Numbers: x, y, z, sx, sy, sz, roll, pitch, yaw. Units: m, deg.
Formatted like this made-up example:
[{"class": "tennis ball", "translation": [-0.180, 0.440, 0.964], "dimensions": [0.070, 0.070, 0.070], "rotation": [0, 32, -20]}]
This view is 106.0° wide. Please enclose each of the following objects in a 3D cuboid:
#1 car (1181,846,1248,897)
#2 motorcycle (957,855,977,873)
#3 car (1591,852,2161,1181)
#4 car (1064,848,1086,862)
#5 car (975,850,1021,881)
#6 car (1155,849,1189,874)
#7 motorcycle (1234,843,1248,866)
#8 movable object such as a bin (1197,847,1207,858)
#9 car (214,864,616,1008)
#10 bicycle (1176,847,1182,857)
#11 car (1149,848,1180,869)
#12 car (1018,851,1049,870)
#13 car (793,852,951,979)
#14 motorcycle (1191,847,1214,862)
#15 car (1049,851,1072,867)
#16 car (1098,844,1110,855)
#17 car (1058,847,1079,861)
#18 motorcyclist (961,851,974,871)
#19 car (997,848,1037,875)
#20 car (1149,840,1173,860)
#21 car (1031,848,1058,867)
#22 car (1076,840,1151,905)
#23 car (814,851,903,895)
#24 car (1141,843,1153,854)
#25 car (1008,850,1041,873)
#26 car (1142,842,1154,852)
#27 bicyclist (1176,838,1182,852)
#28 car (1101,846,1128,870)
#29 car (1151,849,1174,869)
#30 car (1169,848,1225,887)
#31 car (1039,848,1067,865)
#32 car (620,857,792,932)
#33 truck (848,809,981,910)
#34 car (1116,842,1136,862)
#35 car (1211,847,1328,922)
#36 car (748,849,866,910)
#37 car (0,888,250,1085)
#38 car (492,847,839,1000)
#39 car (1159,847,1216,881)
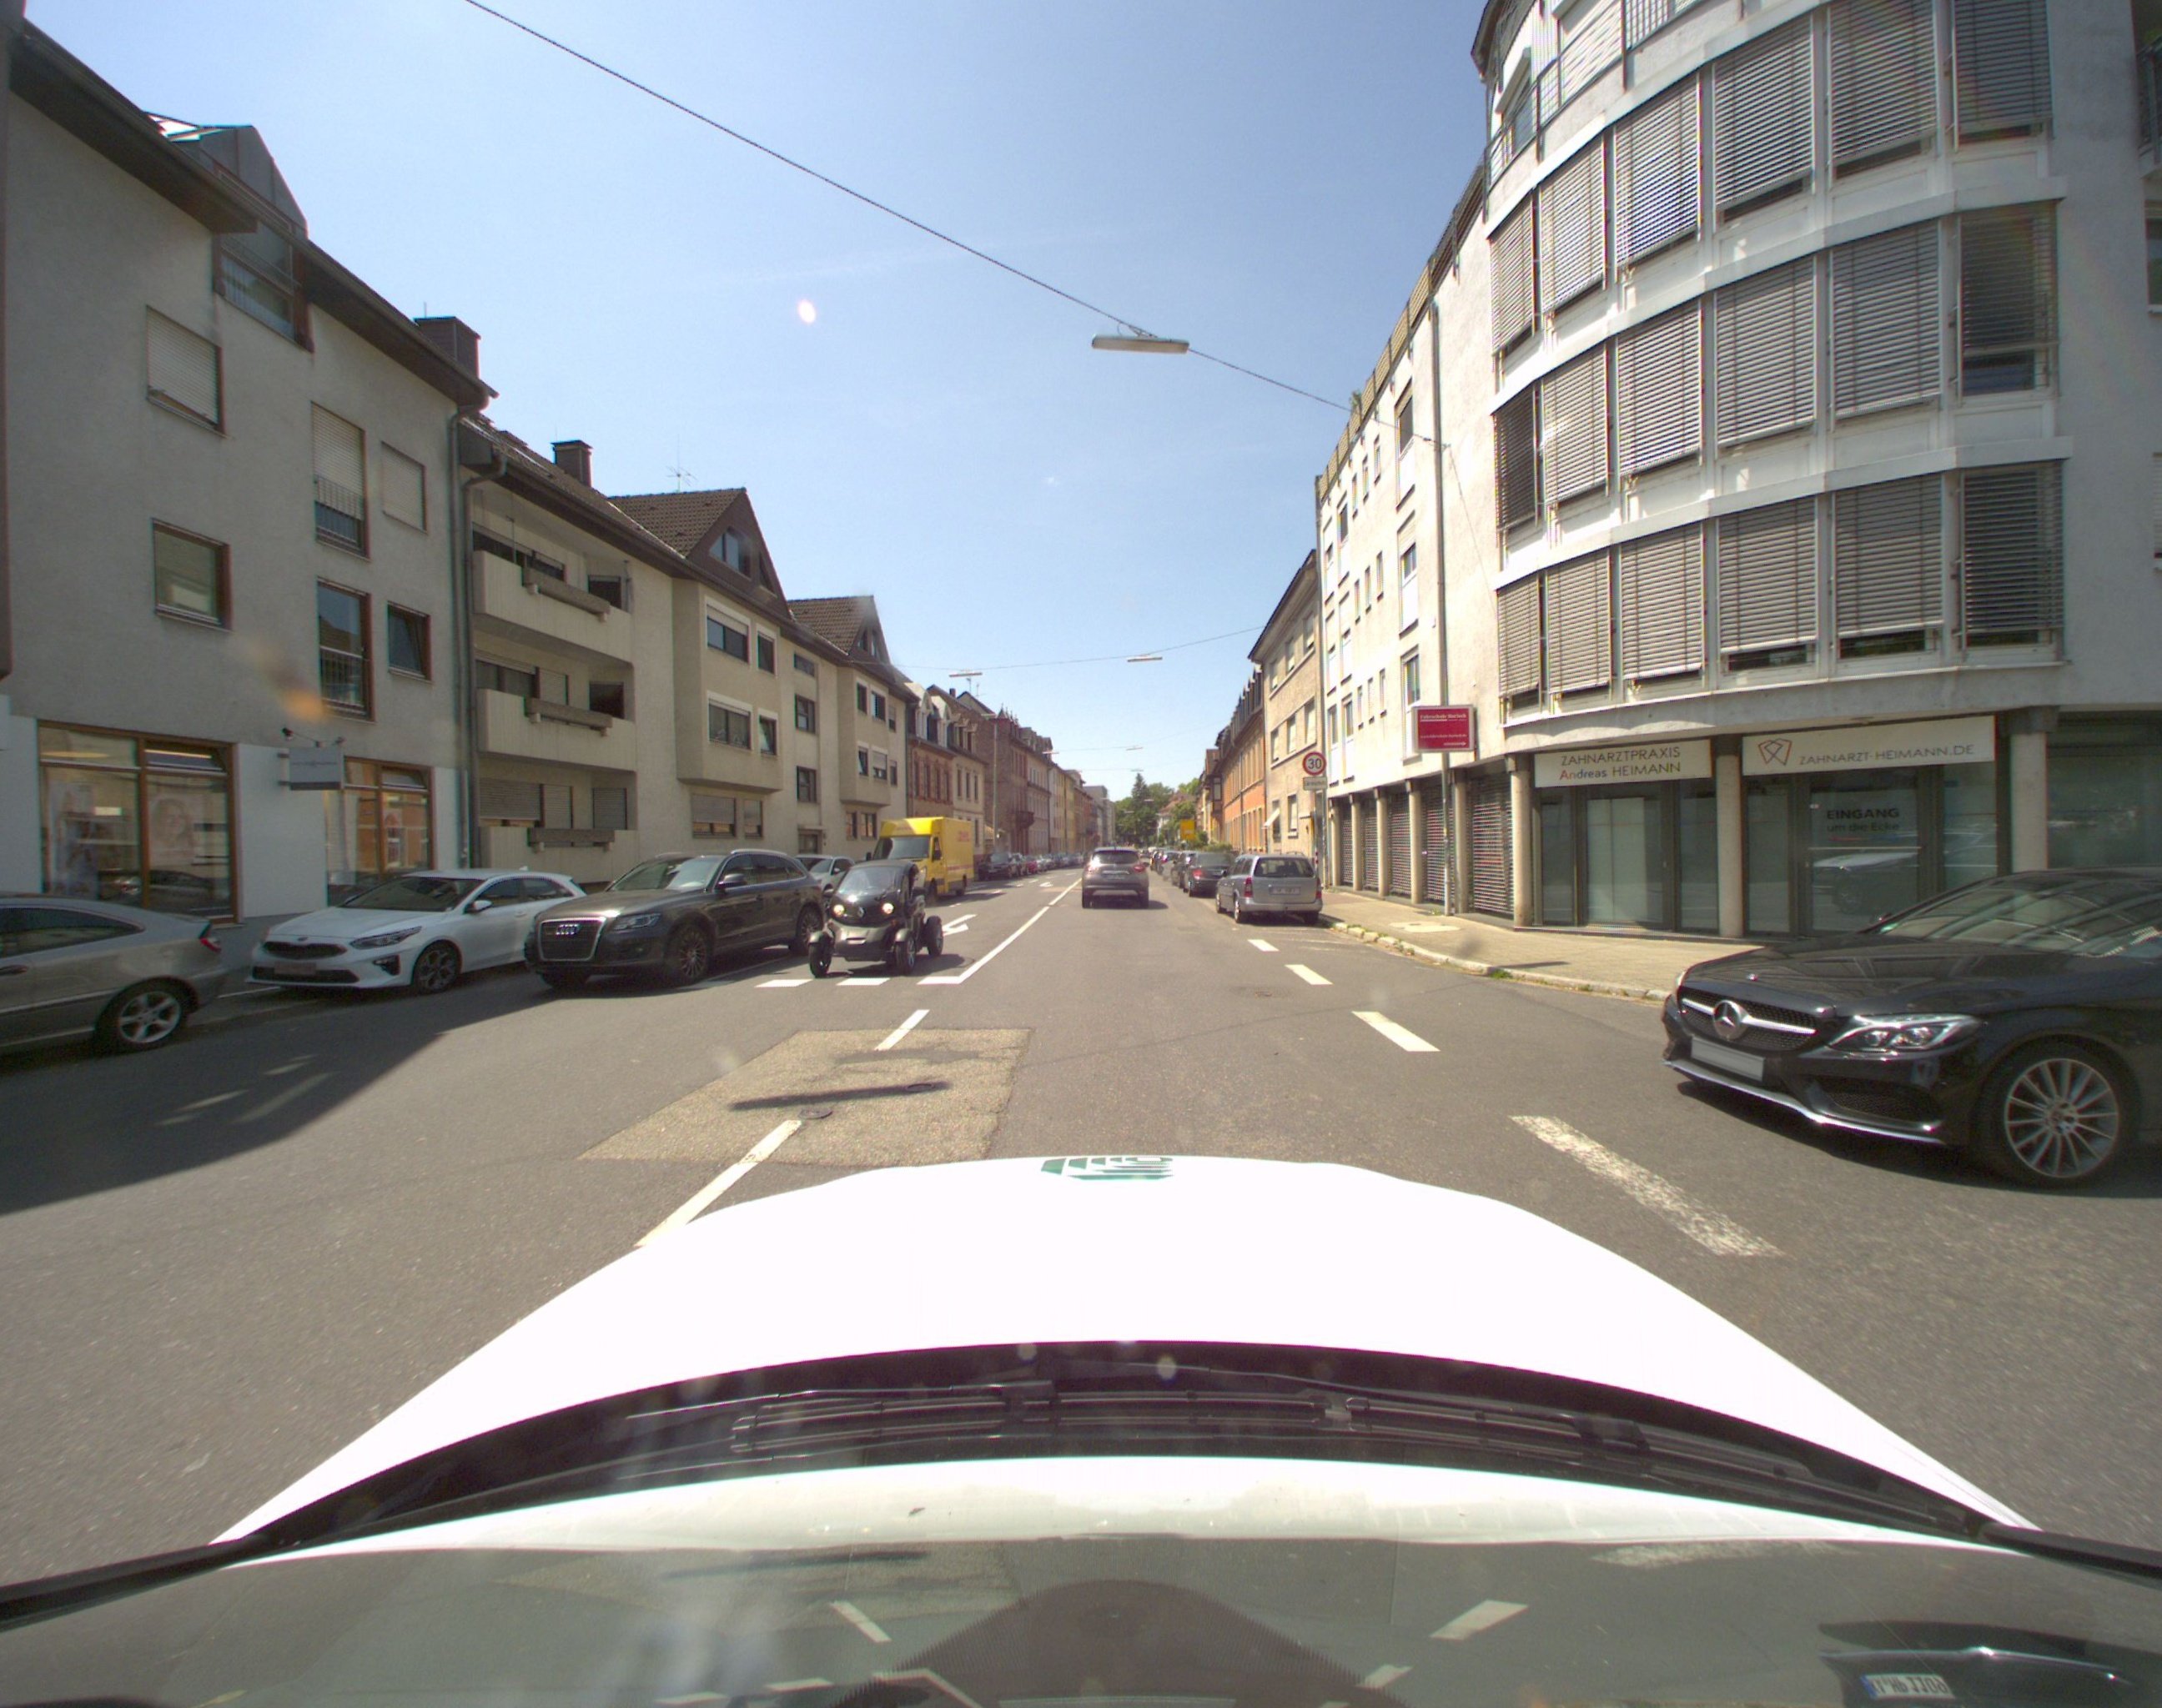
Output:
[{"class": "car", "translation": [4.323, 0.511, 26.972], "dimensions": [1.704, 1.473, 4.442], "rotation": [-2, 1, 3]}, {"class": "motorcycle", "translation": [-7.520, 0.642, 53.739], "dimensions": [0.841, 1.078, 1.874], "rotation": [-2, 0, 5]}, {"class": "car", "translation": [5.761, 0.706, 4.575], "dimensions": [4.566, 1.365, 2.000], "rotation": [-1, 1, 0]}, {"class": "car", "translation": [-0.667, 0.082, 93.891], "dimensions": [1.830, 1.422, 4.566], "rotation": [-4, 0, 6]}, {"class": "car", "translation": [-4.857, 0.635, 48.228], "dimensions": [1.831, 1.596, 4.508], "rotation": [-3, 0, 4]}, {"class": "car", "translation": [5.382, 0.432, 48.510], "dimensions": [1.694, 1.380, 4.169], "rotation": [-1, 0, 2]}, {"class": "motorcycle", "translation": [8.841, 0.038, 44.964], "dimensions": [0.593, 1.224, 1.363], "rotation": [-1, 0, 4]}, {"class": "movable object such as a bin", "translation": [10.638, -0.153, 71.621], "dimensions": [0.785, 0.907, 0.539], "rotation": [-2, 0, 2]}, {"class": "car", "translation": [-8.672, 0.943, 11.262], "dimensions": [1.833, 1.489, 4.388], "rotation": [1, 0, 1]}, {"class": "bicycle", "translation": [10.520, -0.254, 87.433], "dimensions": [0.590, 1.066, 1.885], "rotation": [-2, 0, 6]}, {"class": "car", "translation": [5.829, 0.317, 57.213], "dimensions": [1.643, 1.414, 4.500], "rotation": [-1, 0, -1]}, {"class": "car", "translation": [-3.739, 0.490, 65.295], "dimensions": [1.831, 1.422, 4.508], "rotation": [-3, 0, 4]}, {"class": "car", "translation": [-2.700, 0.727, 11.072], "dimensions": [1.493, 1.459, 2.720], "rotation": [-1, 1, -2]}, {"class": "motorcycle", "translation": [12.015, 0.036, 80.729], "dimensions": [2.119, 1.408, 0.939], "rotation": [-3, 0, 4]}, {"class": "car", "translation": [-2.044, 0.483, 82.230], "dimensions": [1.832, 1.422, 4.506], "rotation": [-4, 0, 3]}, {"class": "car", "translation": [3.972, -0.771, 138.858], "dimensions": [1.897, 1.619, 4.304], "rotation": [-3, 0, 2]}, {"class": "car", "translation": [-1.352, 0.008, 88.137], "dimensions": [1.832, 1.422, 4.650], "rotation": [-4, 0, 3]}, {"class": "motorcyclist", "translation": [-7.464, 0.449, 53.660], "dimensions": [0.715, 1.248, 0.713], "rotation": [-2, 0, 3]}, {"class": "car", "translation": [-4.194, 0.458, 54.259], "dimensions": [1.831, 1.596, 4.508], "rotation": [-5, 0, 4]}, {"class": "car", "translation": [7.022, -0.342, 71.598], "dimensions": [1.984, 1.662, 4.632], "rotation": [-2, 0, 5]}, {"class": "car", "translation": [-3.147, 0.325, 71.141], "dimensions": [1.832, 1.422, 4.506], "rotation": [-6, 0, 3]}, {"class": "car", "translation": [0.816, 0.437, 22.440], "dimensions": [1.740, 1.616, 3.997], "rotation": [0, 1, -2]}, {"class": "car", "translation": [-8.104, 0.642, 30.123], "dimensions": [1.832, 1.488, 4.390], "rotation": [1, 0, 3]}, {"class": "car", "translation": [10.563, -0.875, 129.540], "dimensions": [1.754, 1.559, 3.950], "rotation": [-2, 1, 7]}, {"class": "car", "translation": [-4.026, 0.510, 58.565], "dimensions": [1.833, 1.422, 4.504], "rotation": [-4, 0, 1]}, {"class": "car", "translation": [11.181, -1.114, 135.458], "dimensions": [1.754, 1.559, 3.950], "rotation": [-2, 1, 7]}, {"class": "bicyclist", "translation": [10.503, -1.005, 87.373], "dimensions": [0.530, 1.469, 0.792], "rotation": [-2, 0, 6]}, {"class": "car", "translation": [2.597, 0.276, 62.407], "dimensions": [1.804, 1.620, 4.446], "rotation": [-3, 0, 4]}, {"class": "car", "translation": [6.262, 0.357, 62.777], "dimensions": [1.708, 1.414, 4.596], "rotation": [-2, 0, 5]}, {"class": "car", "translation": [4.576, 0.488, 32.653], "dimensions": [1.646, 1.420, 4.048], "rotation": [-1, 1, 0]}, {"class": "car", "translation": [-2.609, 0.200, 76.994], "dimensions": [1.830, 1.422, 4.510], "rotation": [-5, 0, 6]}, {"class": "car", "translation": [-8.547, 0.837, 19.064], "dimensions": [1.832, 1.489, 4.389], "rotation": [1, 0, 2]}, {"class": "truck", "translation": [-5.247, 0.125, 27.106], "dimensions": [2.215, 2.771, 7.572], "rotation": [-3, 0, 4]}, {"class": "car", "translation": [4.855, -0.254, 87.418], "dimensions": [1.984, 2.013, 4.472], "rotation": [-2, 1, 5]}, {"class": "car", "translation": [3.999, 0.581, 17.928], "dimensions": [1.672, 1.454, 4.144], "rotation": [0, 1, 1]}, {"class": "car", "translation": [-7.964, 0.671, 24.155], "dimensions": [1.832, 1.595, 4.389], "rotation": [1, 0, 2]}, {"class": "car", "translation": [-9.177, 1.058, 5.851], "dimensions": [1.832, 1.383, 4.330], "rotation": [1, 0, 3]}, {"class": "car", "translation": [-5.256, 0.757, 11.154], "dimensions": [1.800, 1.620, 4.455], "rotation": [-3, 0, 11]}, {"class": "car", "translation": [4.884, 0.433, 38.053], "dimensions": [1.849, 1.463, 4.546], "rotation": [-1, 0, -3]}]
